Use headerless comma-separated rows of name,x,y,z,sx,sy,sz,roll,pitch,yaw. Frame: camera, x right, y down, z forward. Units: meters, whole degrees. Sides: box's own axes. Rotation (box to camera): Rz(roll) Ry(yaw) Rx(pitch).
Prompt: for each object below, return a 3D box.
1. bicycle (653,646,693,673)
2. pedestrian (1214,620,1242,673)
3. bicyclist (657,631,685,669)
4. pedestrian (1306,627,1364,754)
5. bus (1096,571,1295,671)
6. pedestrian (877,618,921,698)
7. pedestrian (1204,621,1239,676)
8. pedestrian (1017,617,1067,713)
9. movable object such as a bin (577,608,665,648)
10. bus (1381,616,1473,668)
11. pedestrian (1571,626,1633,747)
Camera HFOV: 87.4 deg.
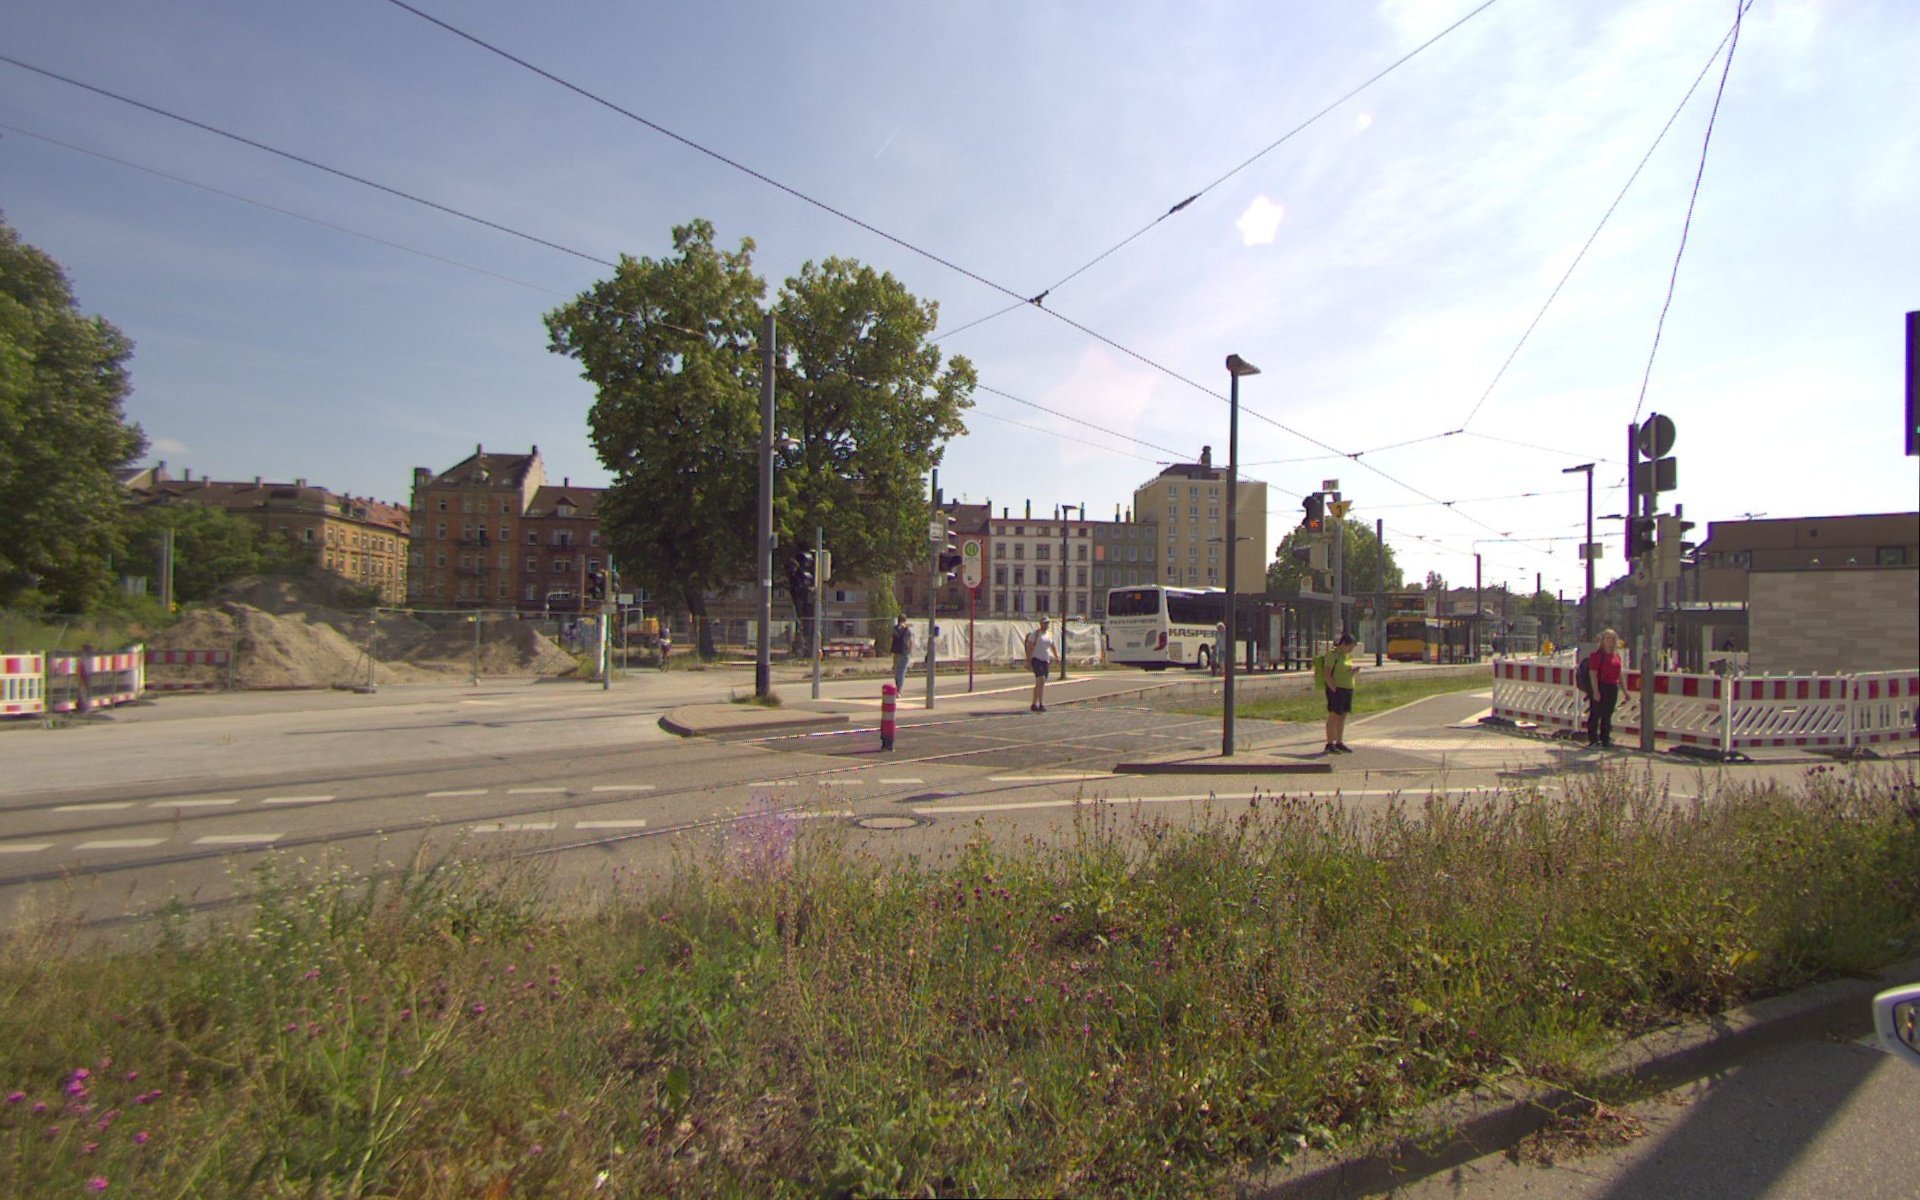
bicycle,-10.415,2.136,36.409,0.755,0.935,2.049,2,-2,-36
pedestrian,8.453,1.462,31.725,0.679,1.637,0.583,-1,-1,39
bicyclist,-10.538,1.821,36.635,0.614,1.378,1.161,2,-2,-37
pedestrian,4.838,1.153,12.989,0.654,1.564,0.423,2,1,19
bus,10.087,0.981,41.367,2.818,3.535,12.604,-1,-3,39
pedestrian,-1.353,1.271,22.258,0.919,1.735,0.557,0,-1,-11
pedestrian,7.969,1.470,30.615,0.655,1.637,0.787,1,-1,-31
pedestrian,1.589,1.252,19.571,0.827,1.836,0.648,0,-1,-12
movable object such as a bin,-26.746,2.252,79.345,6.456,3.049,2.571,1,-2,-21
bus,32.596,2.909,69.718,2.818,3.324,12.605,-1,-3,39
pedestrian,8.870,1.187,13.876,0.675,1.637,0.350,1,-2,-15
